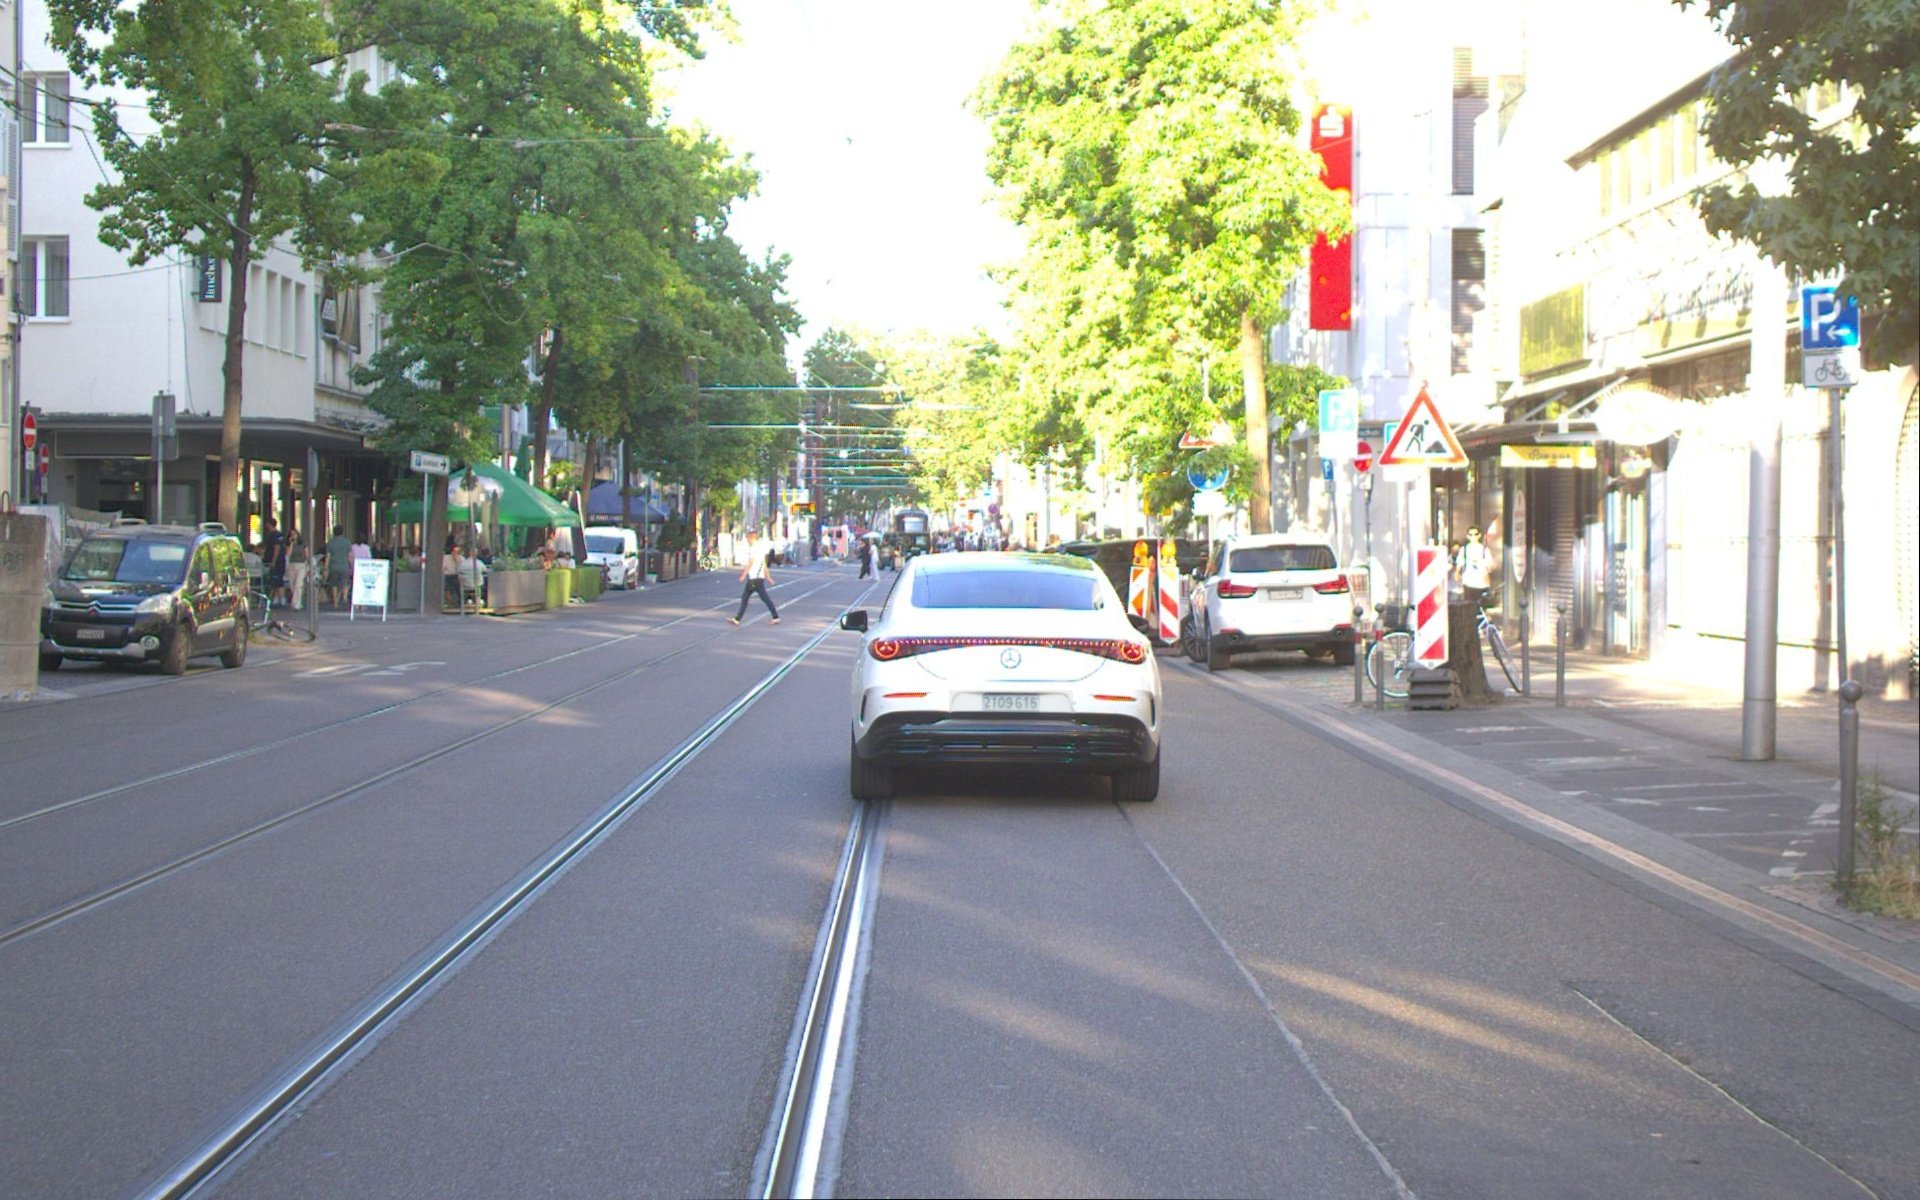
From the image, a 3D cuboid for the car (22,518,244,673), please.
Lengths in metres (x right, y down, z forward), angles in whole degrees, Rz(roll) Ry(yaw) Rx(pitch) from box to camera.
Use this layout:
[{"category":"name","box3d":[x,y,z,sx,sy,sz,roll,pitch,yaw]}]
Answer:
[{"category":"car","box3d":[-9.931,-0.084,41.475,1.553,1.789,3.166,0,1,8]}]

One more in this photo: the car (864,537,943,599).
[{"category":"car","box3d":[-2.918,-1.677,178.901,4.038,3.103,8.431,0,1,-1]}]

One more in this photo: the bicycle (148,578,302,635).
[{"category":"bicycle","box3d":[-11.060,0.090,51.698,2.255,0.827,0.716,1,1,22]}]

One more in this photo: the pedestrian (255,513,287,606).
[{"category":"pedestrian","box3d":[-13.858,-0.817,69.122,0.517,1.849,0.650,0,1,-1]}]

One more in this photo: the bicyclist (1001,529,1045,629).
[{"category":"bicyclist","box3d":[1.073,-0.363,58.895,0.724,1.697,0.811,0,1,0]}]

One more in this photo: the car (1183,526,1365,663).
[{"category":"car","box3d":[4.106,-0.115,45.543,1.993,1.722,4.241,0,1,0]}]

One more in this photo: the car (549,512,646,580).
[{"category":"car","box3d":[-10.910,-1.641,103.680,1.994,2.007,3.999,0,1,8]}]

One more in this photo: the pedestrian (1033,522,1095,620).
[{"category":"pedestrian","box3d":[1.906,-0.537,62.961,0.919,1.768,0.874,0,1,-15]}]

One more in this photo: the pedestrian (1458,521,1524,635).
[{"category":"pedestrian","box3d":[8.240,-0.346,53.333,0.799,1.768,0.683,0,1,-12]}]

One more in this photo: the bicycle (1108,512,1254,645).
[{"category":"bicycle","box3d":[3.448,-0.350,54.207,1.993,2.007,4.000,0,1,-1]}]

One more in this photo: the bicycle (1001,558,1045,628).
[{"category":"bicycle","box3d":[1.072,-0.126,59.066,0.740,1.184,2.160,0,1,0]}]

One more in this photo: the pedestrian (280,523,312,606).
[{"category":"pedestrian","box3d":[-13.206,-0.707,68.343,0.517,1.647,0.650,0,1,-1]}]

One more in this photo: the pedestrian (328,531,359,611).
[{"category":"pedestrian","box3d":[-12.526,-0.598,69.856,0.517,1.610,0.650,0,1,-1]}]

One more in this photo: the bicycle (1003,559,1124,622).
[{"category":"bicycle","box3d":[1.887,-0.185,62.968,2.047,1.132,0.874,0,1,-15]}]

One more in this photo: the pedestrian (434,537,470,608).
[{"category":"pedestrian","box3d":[-10.743,-0.571,72.666,0.517,1.473,0.650,-3,0,-28]}]

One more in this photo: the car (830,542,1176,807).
[{"category":"car","box3d":[0.167,0.386,21.293,1.868,1.464,4.043,0,1,-3]}]

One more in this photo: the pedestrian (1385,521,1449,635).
[{"category":"pedestrian","box3d":[7.117,-0.349,53.576,0.799,1.768,0.683,0,1,-12]}]

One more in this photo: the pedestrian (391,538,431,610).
[{"category":"pedestrian","box3d":[-11.364,-0.542,71.207,0.569,1.459,0.649,1,1,19]}]

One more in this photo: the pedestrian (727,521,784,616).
[{"category":"pedestrian","box3d":[-3.851,-0.595,64.692,0.919,1.768,0.874,0,1,-15]}]

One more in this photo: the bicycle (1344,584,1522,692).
[{"category":"bicycle","box3d":[4.718,0.377,34.359,1.723,1.058,0.581,0,1,3]}]
